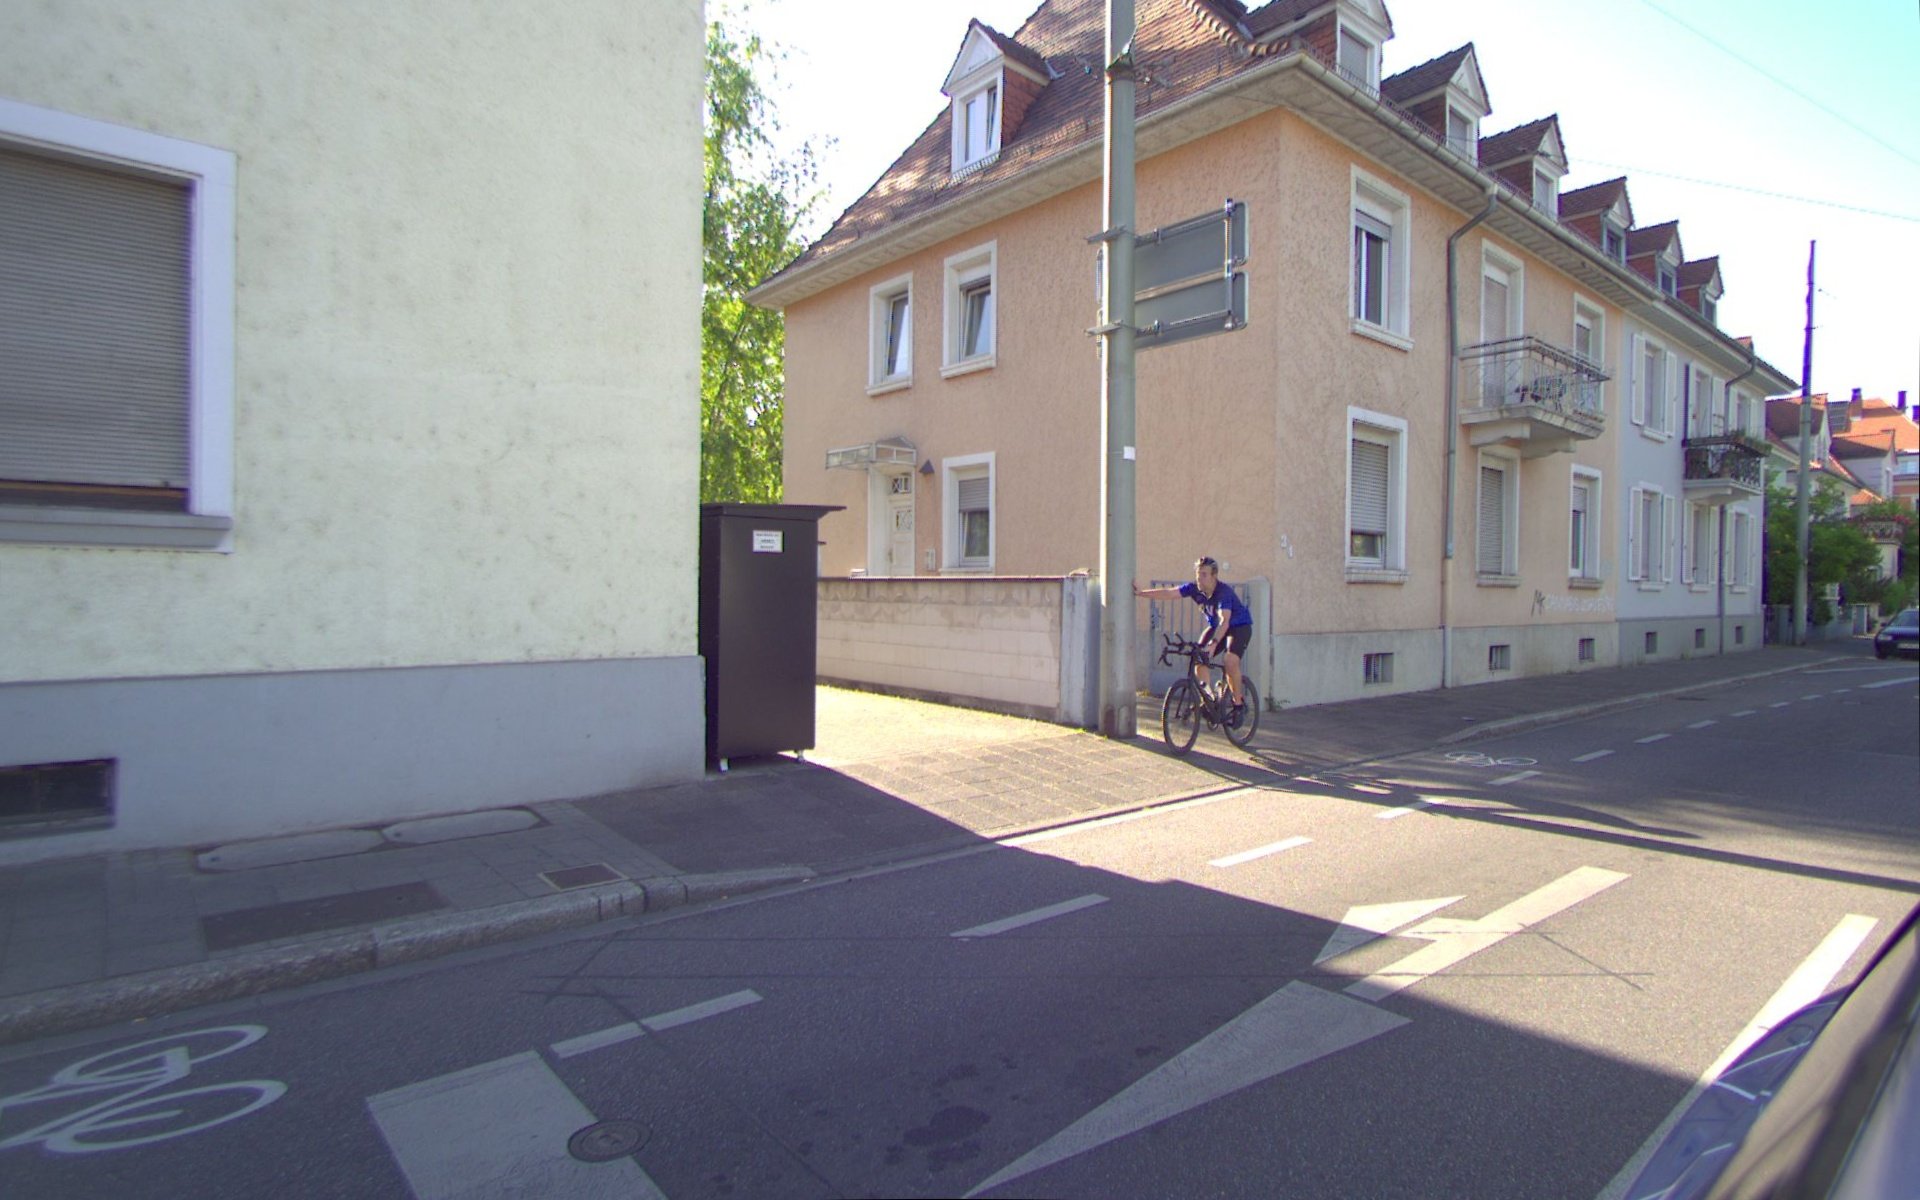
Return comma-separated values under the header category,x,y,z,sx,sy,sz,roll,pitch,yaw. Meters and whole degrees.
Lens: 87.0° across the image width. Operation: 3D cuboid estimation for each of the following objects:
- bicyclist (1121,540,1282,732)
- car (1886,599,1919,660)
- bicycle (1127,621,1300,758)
category,x,y,z,sx,sy,sz,roll,pitch,yaw
bicyclist,2.272,0.298,9.571,0.870,1.627,1.052,1,5,-41
car,26.683,0.760,27.370,3.742,1.601,1.696,0,-1,-36
bicycle,2.387,0.781,9.427,1.744,1.081,0.592,0,5,-41
